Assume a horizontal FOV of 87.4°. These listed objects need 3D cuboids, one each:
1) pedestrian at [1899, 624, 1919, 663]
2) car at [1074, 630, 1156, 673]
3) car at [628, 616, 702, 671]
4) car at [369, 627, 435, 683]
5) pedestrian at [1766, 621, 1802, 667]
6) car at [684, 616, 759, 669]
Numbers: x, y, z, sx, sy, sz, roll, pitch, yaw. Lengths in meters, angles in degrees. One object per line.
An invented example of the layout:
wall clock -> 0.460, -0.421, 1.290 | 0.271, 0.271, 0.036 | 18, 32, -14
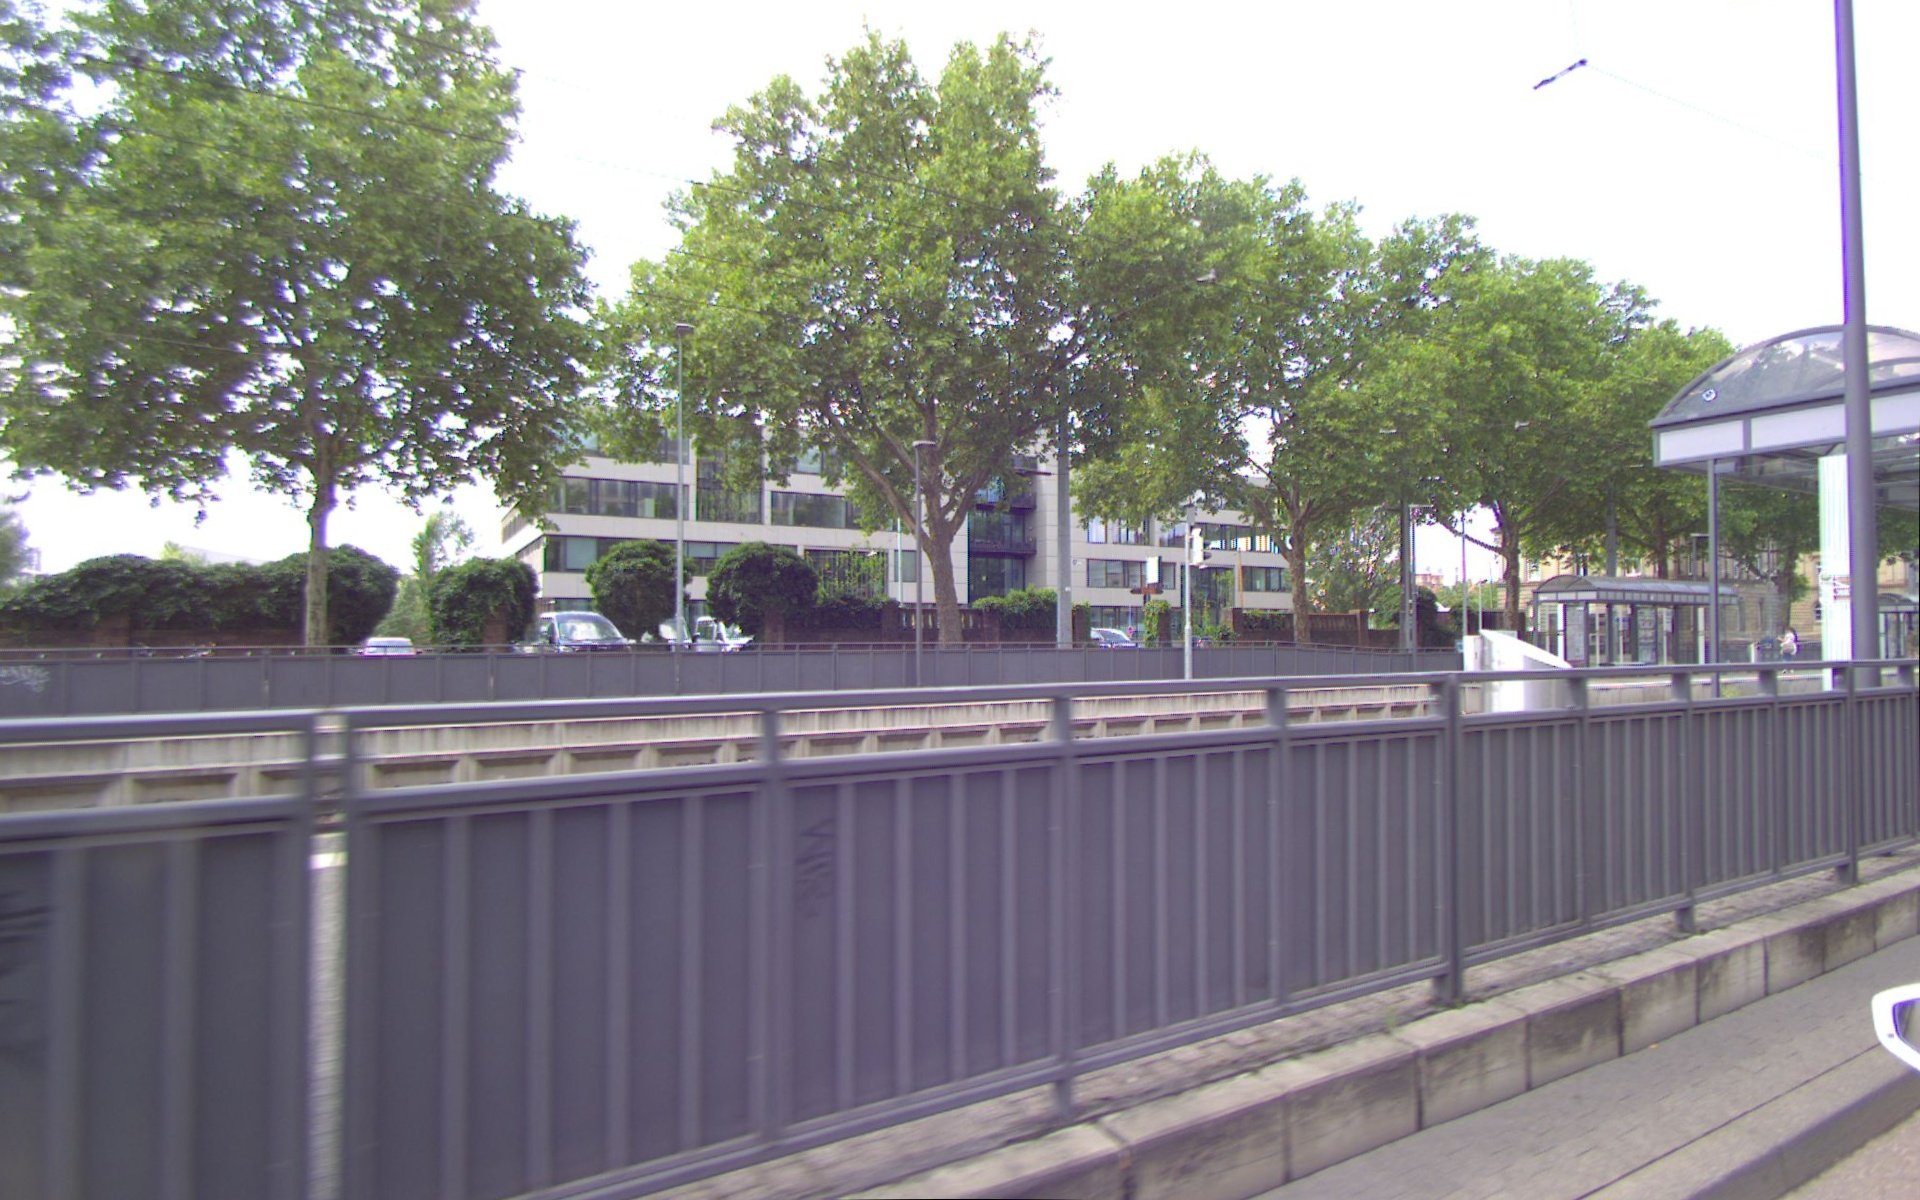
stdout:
pedestrian -> 38.860, 1.774, 41.051 | 0.635, 1.579, 0.498 | 1, -2, -30
car -> 7.792, 2.623, 50.721 | 1.937, 2.060, 4.119 | 1, -4, -30
car -> -11.866, 1.775, 40.262 | 1.937, 2.060, 4.119 | 1, -4, -30
car -> -19.348, 1.912, 34.829 | 1.878, 1.819, 4.119 | 1, -4, -30
pedestrian -> 27.956, 1.486, 34.082 | 0.794, 1.532, 0.698 | 1, -3, -32
car -> -9.887, 1.811, 41.456 | 1.937, 2.060, 4.119 | 1, -4, -30
